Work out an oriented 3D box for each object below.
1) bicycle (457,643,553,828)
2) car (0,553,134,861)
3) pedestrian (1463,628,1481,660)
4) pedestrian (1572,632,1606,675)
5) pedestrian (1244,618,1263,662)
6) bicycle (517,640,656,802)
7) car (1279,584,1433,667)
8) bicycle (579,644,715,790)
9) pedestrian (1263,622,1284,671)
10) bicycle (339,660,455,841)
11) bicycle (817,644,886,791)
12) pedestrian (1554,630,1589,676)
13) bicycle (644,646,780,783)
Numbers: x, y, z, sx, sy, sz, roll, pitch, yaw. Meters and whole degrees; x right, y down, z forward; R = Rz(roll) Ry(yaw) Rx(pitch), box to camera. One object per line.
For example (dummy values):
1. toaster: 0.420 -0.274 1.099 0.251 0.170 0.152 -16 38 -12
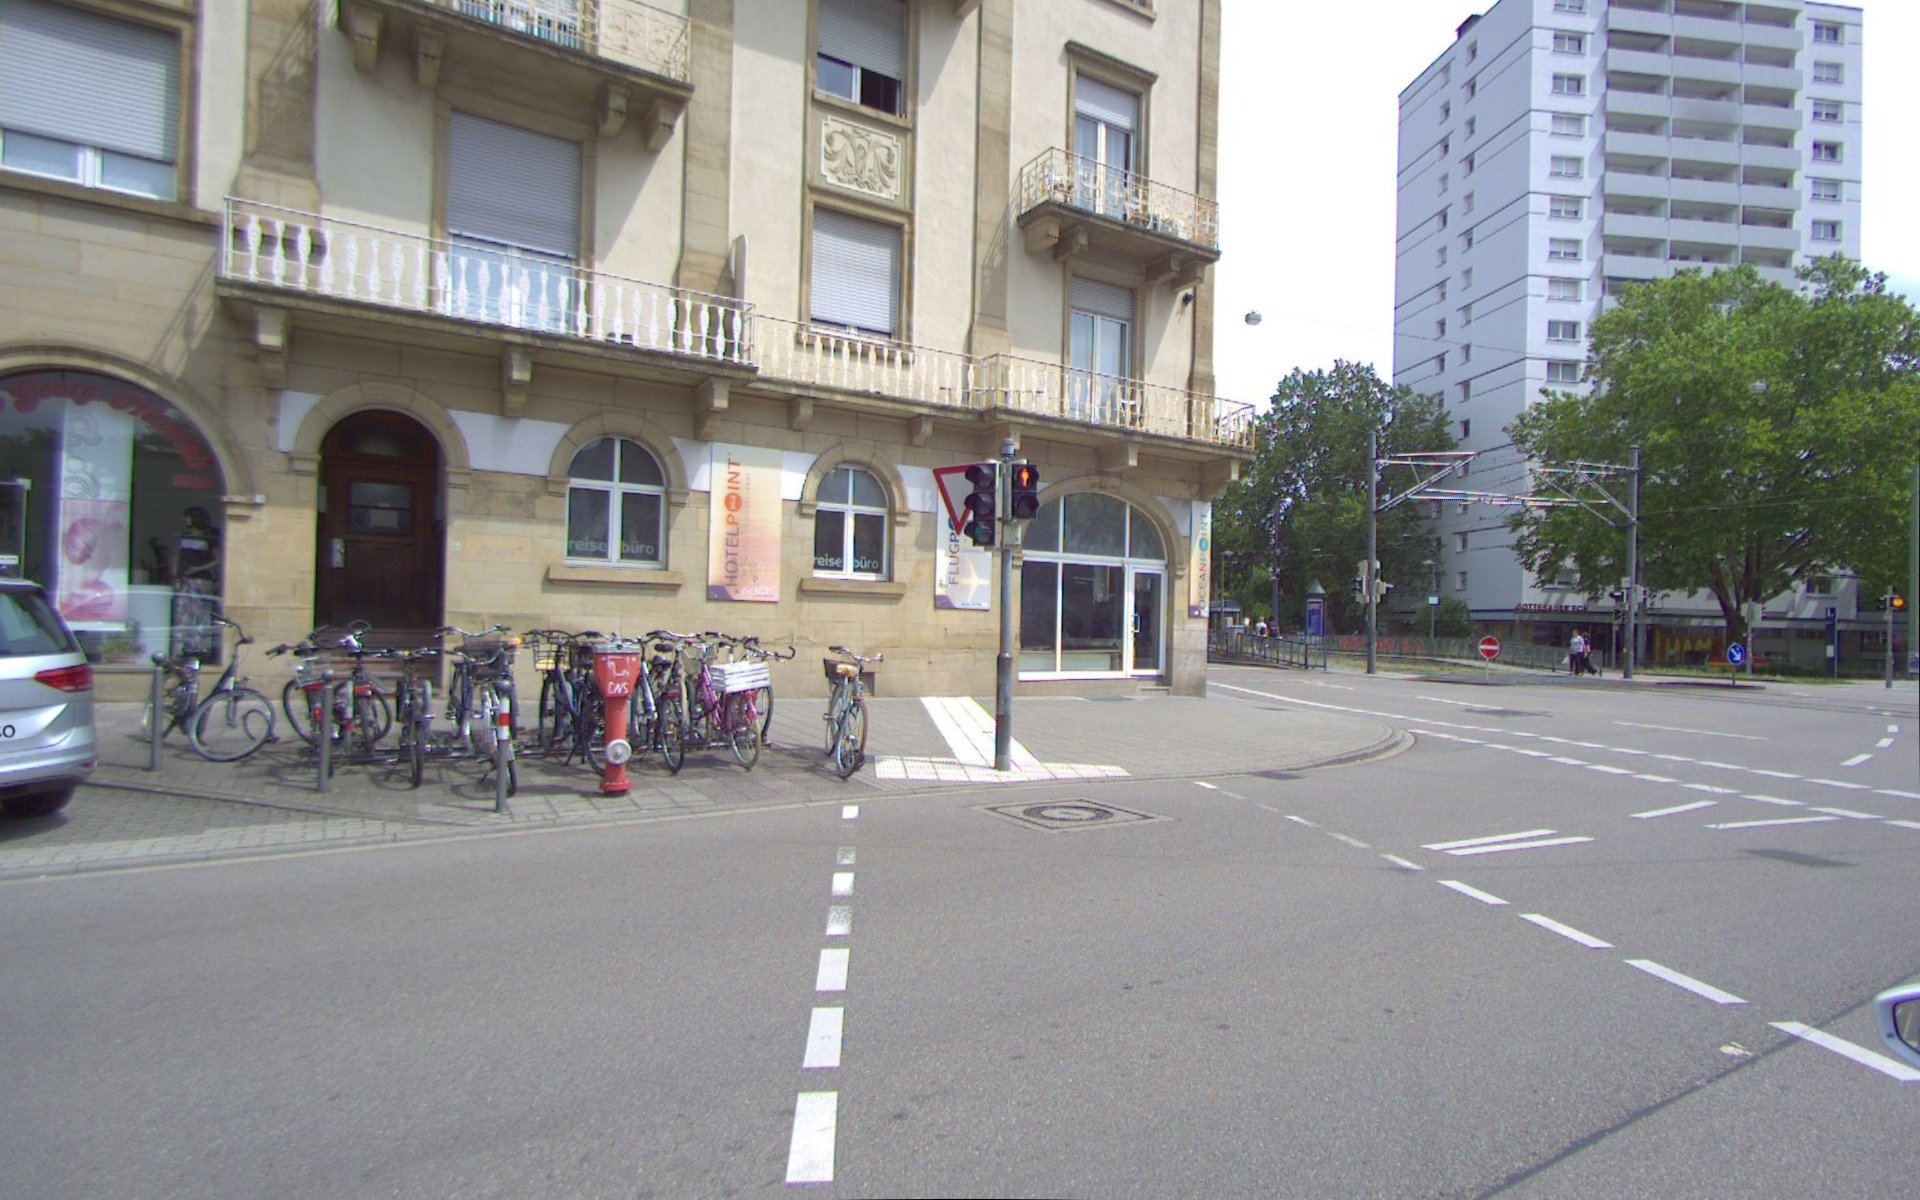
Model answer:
1. bicycle: -3.633 0.991 7.944 0.586 1.135 1.802 2 2 -27
2. car: -7.525 0.598 6.335 3.933 1.797 1.797 1 -1 20
3. pedestrian: 31.466 2.697 61.728 0.726 1.909 0.764 1 -1 -5
4. pedestrian: 23.061 1.965 36.841 0.922 1.534 0.717 2 -1 -32
5. pedestrian: 12.810 1.737 43.851 0.565 1.894 0.547 1 -1 -13
6. bicycle: -3.335 1.002 8.874 0.589 1.182 1.795 2 0 -38
7. car: 20.780 1.345 53.619 3.390 3.967 9.908 1 -1 -6
8. bicycle: -2.991 1.043 9.479 0.589 1.135 1.795 2 0 -38
9. pedestrian: 13.707 2.019 43.883 0.643 2.114 0.590 1 -1 -13
10. bicycle: -4.221 1.061 7.631 0.586 1.135 1.804 2 -2 -24
11. bicycle: -1.089 1.084 9.785 0.489 1.182 1.878 2 0 -10
12. pedestrian: 21.718 1.870 35.696 0.709 1.593 0.809 1 -1 -3
13. bicycle: -2.514 1.084 10.025 0.589 1.135 1.795 2 0 -38
